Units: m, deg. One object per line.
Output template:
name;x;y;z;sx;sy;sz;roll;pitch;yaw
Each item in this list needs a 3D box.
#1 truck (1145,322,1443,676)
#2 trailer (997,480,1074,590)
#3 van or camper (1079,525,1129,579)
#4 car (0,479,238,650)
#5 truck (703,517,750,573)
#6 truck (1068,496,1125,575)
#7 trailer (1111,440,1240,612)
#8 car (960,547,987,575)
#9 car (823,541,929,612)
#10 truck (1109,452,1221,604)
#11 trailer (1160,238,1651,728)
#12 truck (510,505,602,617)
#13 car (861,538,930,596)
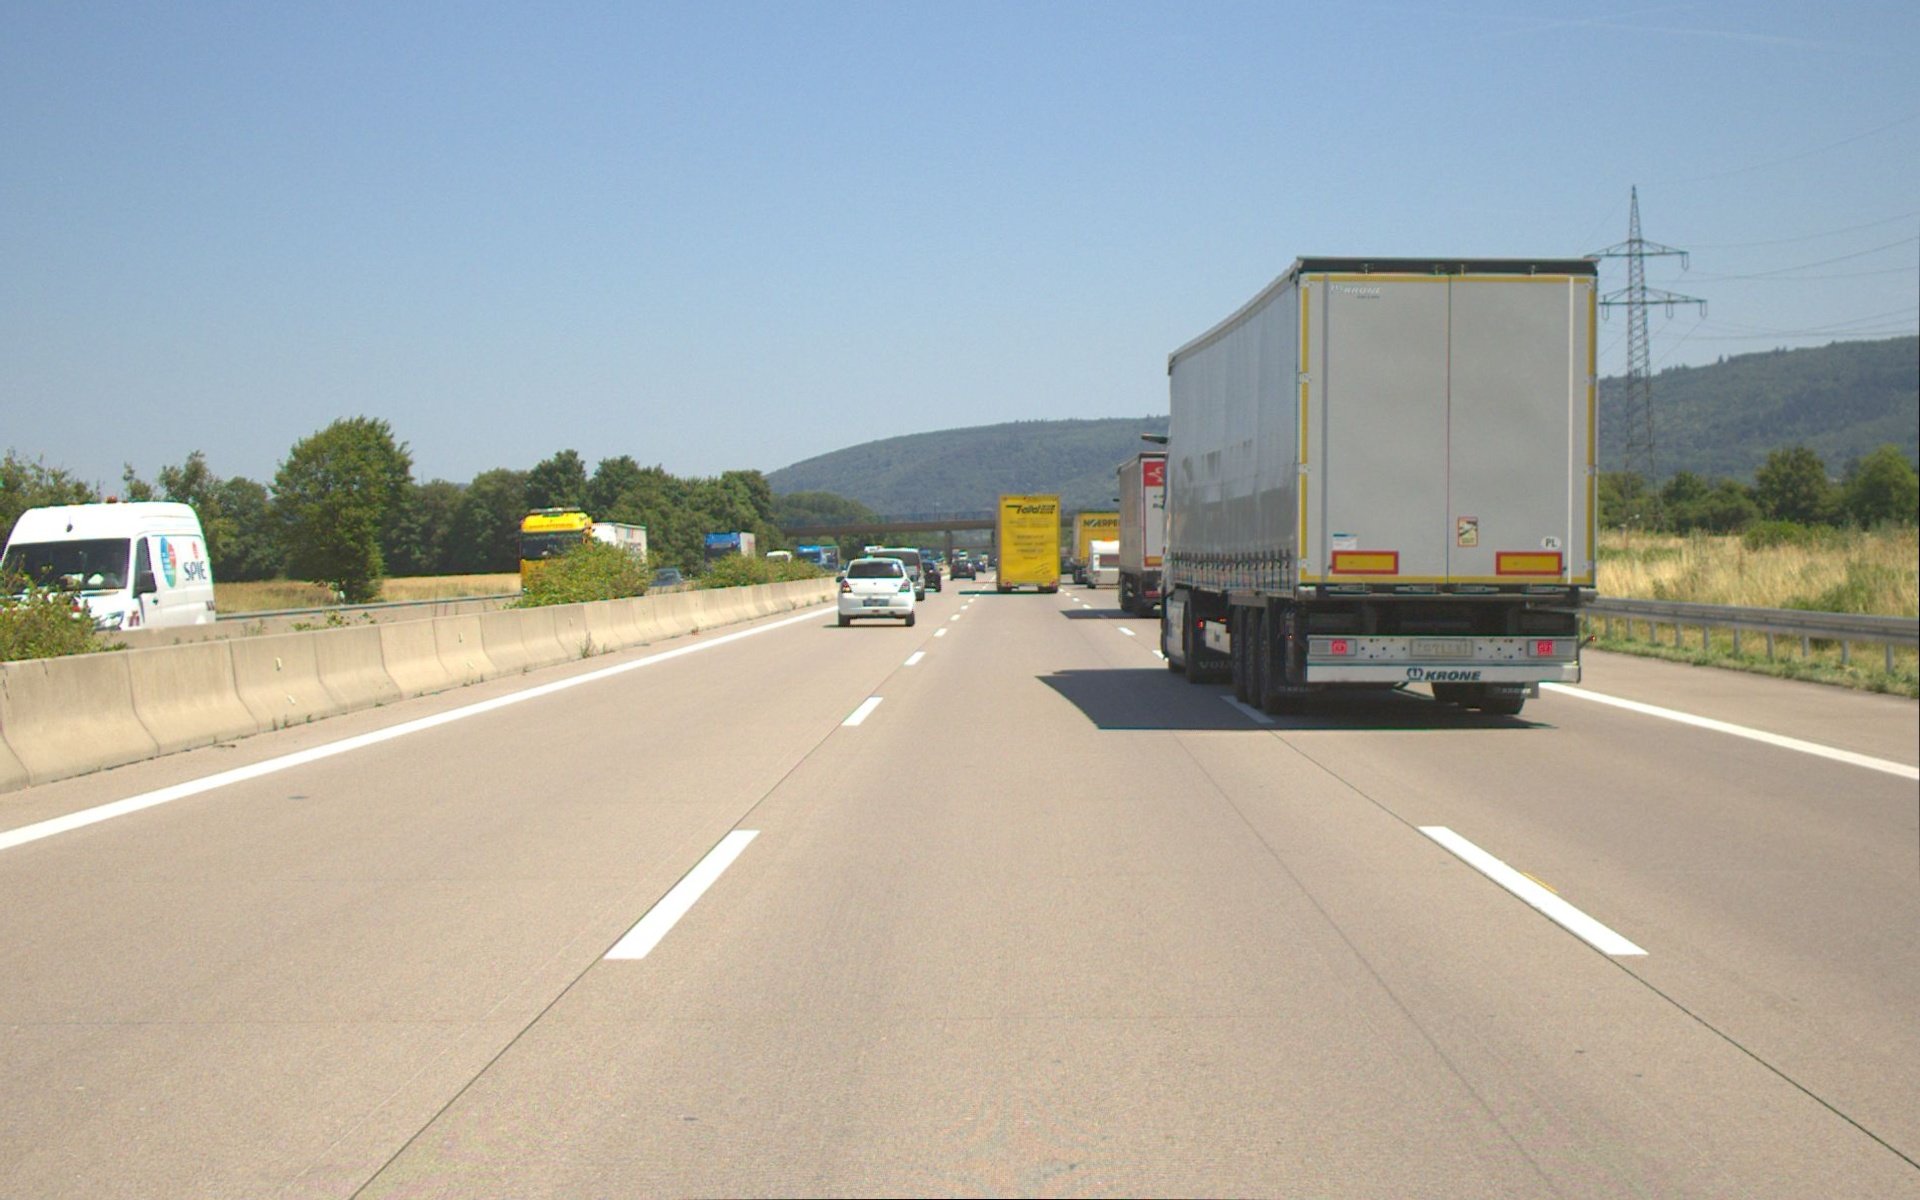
truck;3.982;-1.202;42.184;2.984;4.048;5.478;0;1;-1
trailer;3.282;-2.825;149.890;3.216;4.548;13.456;0;1;1
van or camper;6.897;-2.294;164.883;2.224;2.522;5.431;0;1;1
car;-11.695;-0.507;47.094;2.210;2.181;6.325;0;1;1
truck;-16.367;-3.861;241.105;2.897;3.850;5.685;0;1;1
truck;7.616;-3.596;193.065;2.999;4.299;9.684;0;1;1
trailer;5.442;-1.881;88.823;2.874;4.086;13.512;0;1;2
car;0.915;-2.663;233.448;1.784;1.875;4.000;0;1;1
car;-1.844;-0.546;76.891;2.107;1.530;4.122;0;1;2
truck;5.646;-1.985;95.404;2.906;4.086;6.272;0;1;2
trailer;4.107;-1.081;35.636;3.018;4.047;14.208;0;1;-1
truck;-15.013;-1.460;128.047;2.743;4.066;5.540;0;1;0
car;-2.286;-1.193;122.979;2.255;2.007;4.297;0;1;2
